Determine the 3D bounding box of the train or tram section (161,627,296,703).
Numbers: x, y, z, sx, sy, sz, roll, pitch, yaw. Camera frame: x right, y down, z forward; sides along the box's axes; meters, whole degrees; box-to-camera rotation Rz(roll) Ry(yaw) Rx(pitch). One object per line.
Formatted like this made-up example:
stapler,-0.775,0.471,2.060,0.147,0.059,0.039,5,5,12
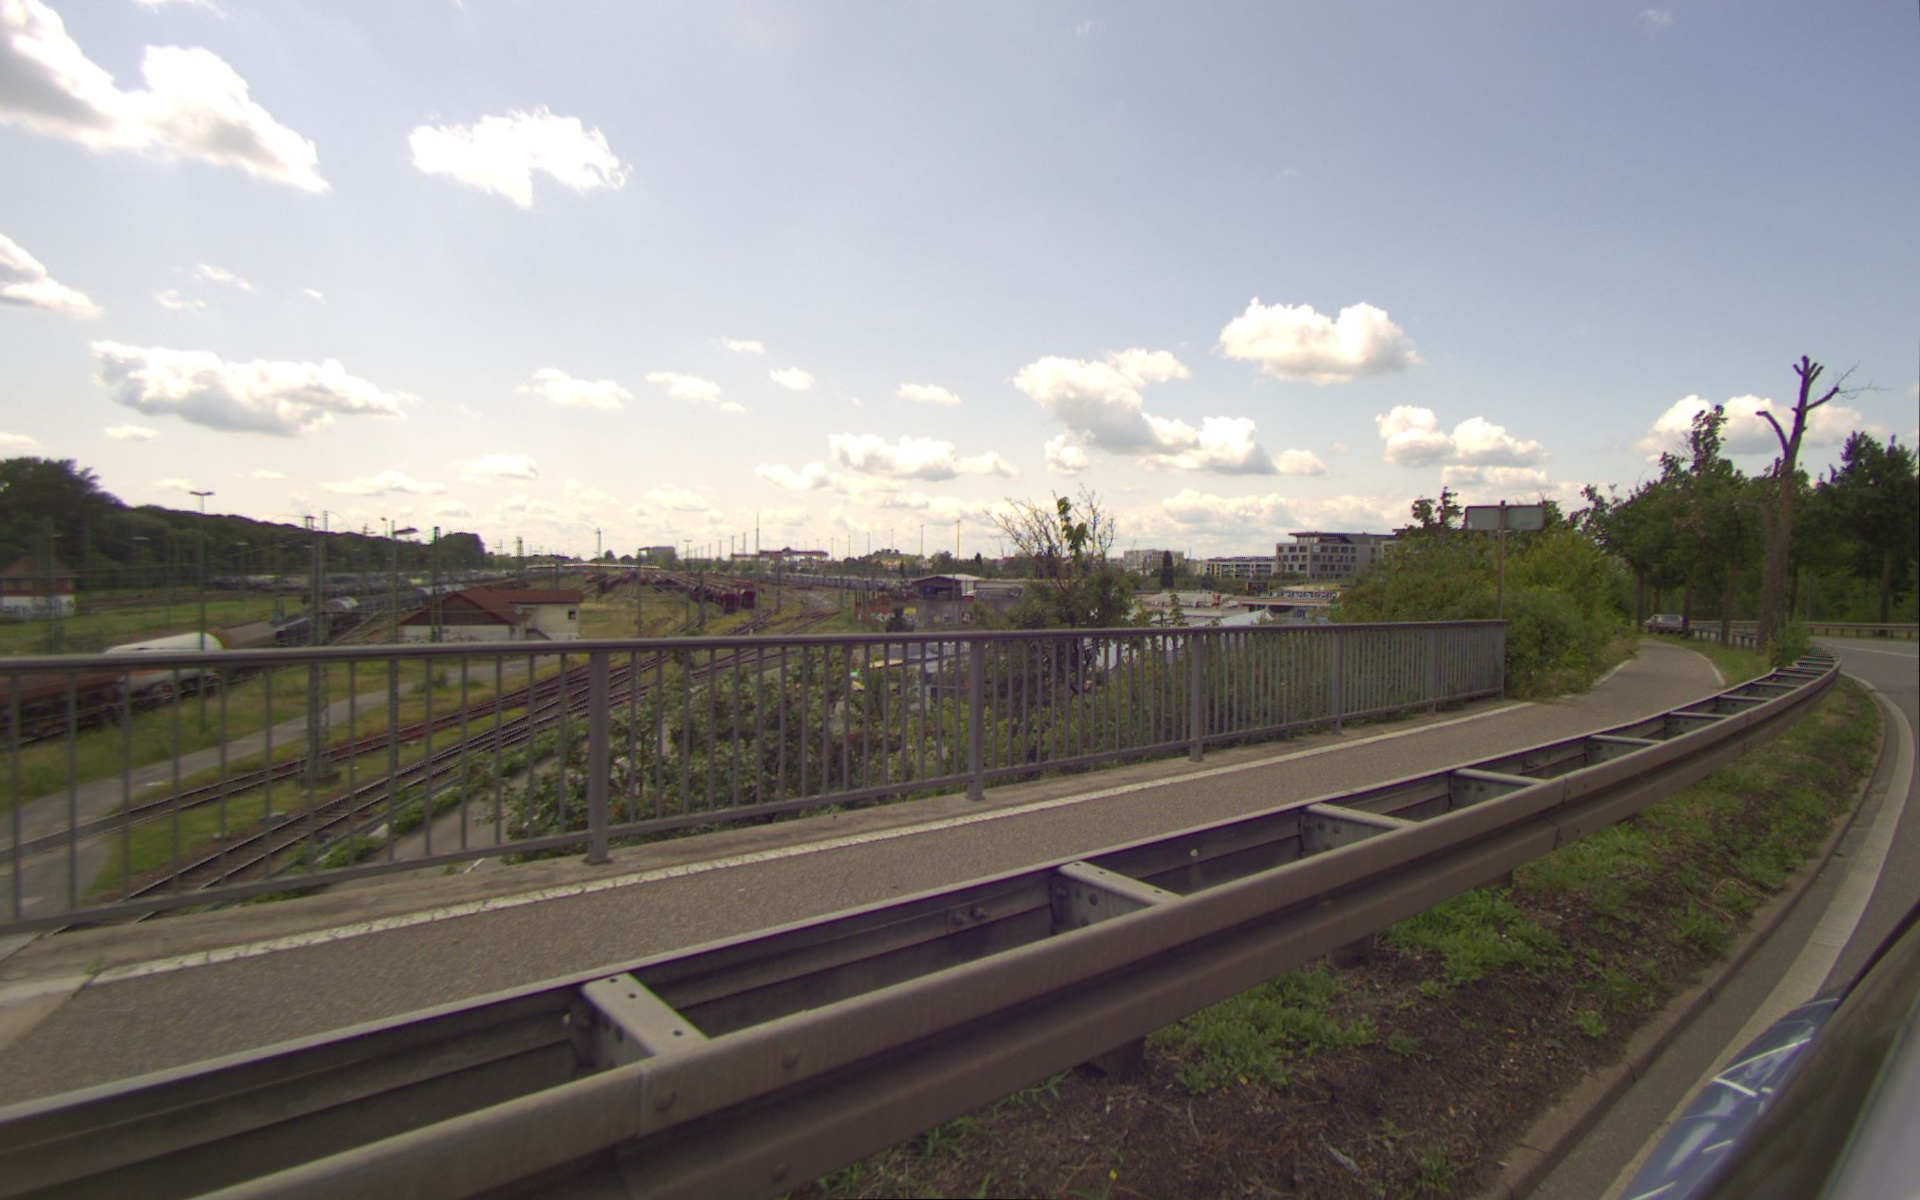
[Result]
train or tram section,-56.158,4.707,78.517,3.146,4.203,17.737,-3,2,-19

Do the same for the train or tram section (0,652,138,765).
train or tram section,-46.362,5.438,48.953,3.153,4.203,18.943,-3,2,-17

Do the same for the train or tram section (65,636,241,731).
train or tram section,-51.883,5.032,65.986,3.151,4.203,17.003,-3,2,-19
